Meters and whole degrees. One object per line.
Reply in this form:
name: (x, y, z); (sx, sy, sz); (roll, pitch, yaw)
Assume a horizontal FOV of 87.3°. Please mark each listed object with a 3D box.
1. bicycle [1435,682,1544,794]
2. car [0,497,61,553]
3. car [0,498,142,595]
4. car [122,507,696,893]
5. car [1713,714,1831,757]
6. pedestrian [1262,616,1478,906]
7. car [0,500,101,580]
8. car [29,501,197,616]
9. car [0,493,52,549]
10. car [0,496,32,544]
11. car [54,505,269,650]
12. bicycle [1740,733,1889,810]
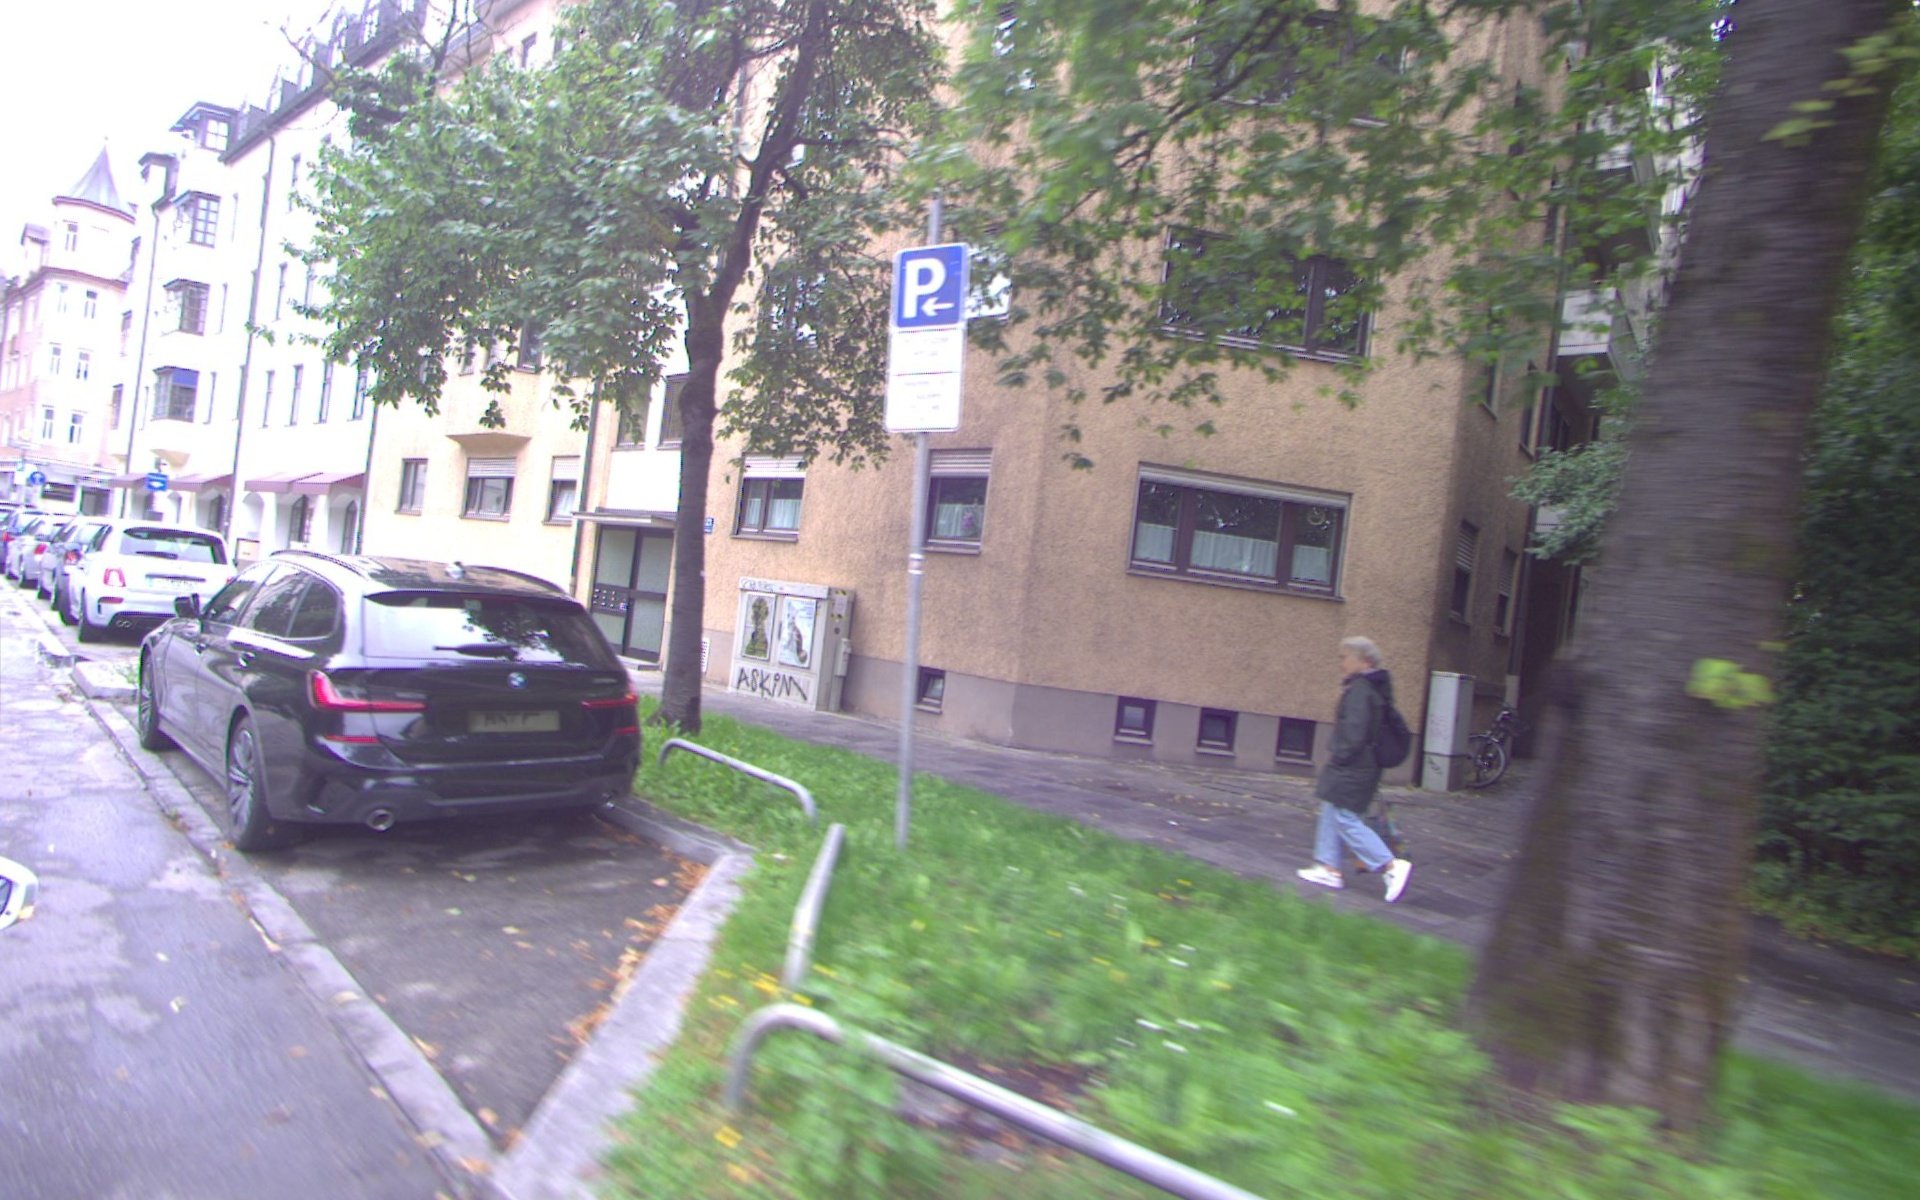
bicycle: (6.865, 1.748, 12.965); (0.694, 1.232, 2.422); (7, -1, 39)
car: (-29.720, -2.420, 31.779); (1.751, 1.515, 3.775); (6, 0, -44)
car: (-17.543, -1.093, 19.740); (4.375, 1.515, 1.687); (6, 0, 43)
car: (-3.658, 0.330, 6.248); (4.317, 1.516, 1.787); (6, 1, 43)
car: (37.571, 6.244, 46.610); (1.805, 1.274, 3.951); (7, -1, -43)
pedestrian: (2.635, 0.985, 6.489); (0.967, 1.643, 0.669); (6, -1, 44)
car: (-21.154, -1.431, 23.012); (4.427, 1.515, 1.753); (6, 0, 43)
car: (-13.929, -0.724, 16.473); (3.736, 1.515, 1.624); (6, 0, 43)
car: (-33.480, -2.862, 35.450); (4.643, 1.700, 1.753); (6, 0, 43)
car: (-37.436, -3.219, 38.810); (4.447, 1.700, 1.816); (6, 0, 41)
car: (-10.625, -0.346, 13.287); (3.770, 1.515, 1.624); (6, 0, 43)
bicycle: (14.088, 2.816, 16.647); (1.730, 0.924, 0.532); (7, 0, 32)
